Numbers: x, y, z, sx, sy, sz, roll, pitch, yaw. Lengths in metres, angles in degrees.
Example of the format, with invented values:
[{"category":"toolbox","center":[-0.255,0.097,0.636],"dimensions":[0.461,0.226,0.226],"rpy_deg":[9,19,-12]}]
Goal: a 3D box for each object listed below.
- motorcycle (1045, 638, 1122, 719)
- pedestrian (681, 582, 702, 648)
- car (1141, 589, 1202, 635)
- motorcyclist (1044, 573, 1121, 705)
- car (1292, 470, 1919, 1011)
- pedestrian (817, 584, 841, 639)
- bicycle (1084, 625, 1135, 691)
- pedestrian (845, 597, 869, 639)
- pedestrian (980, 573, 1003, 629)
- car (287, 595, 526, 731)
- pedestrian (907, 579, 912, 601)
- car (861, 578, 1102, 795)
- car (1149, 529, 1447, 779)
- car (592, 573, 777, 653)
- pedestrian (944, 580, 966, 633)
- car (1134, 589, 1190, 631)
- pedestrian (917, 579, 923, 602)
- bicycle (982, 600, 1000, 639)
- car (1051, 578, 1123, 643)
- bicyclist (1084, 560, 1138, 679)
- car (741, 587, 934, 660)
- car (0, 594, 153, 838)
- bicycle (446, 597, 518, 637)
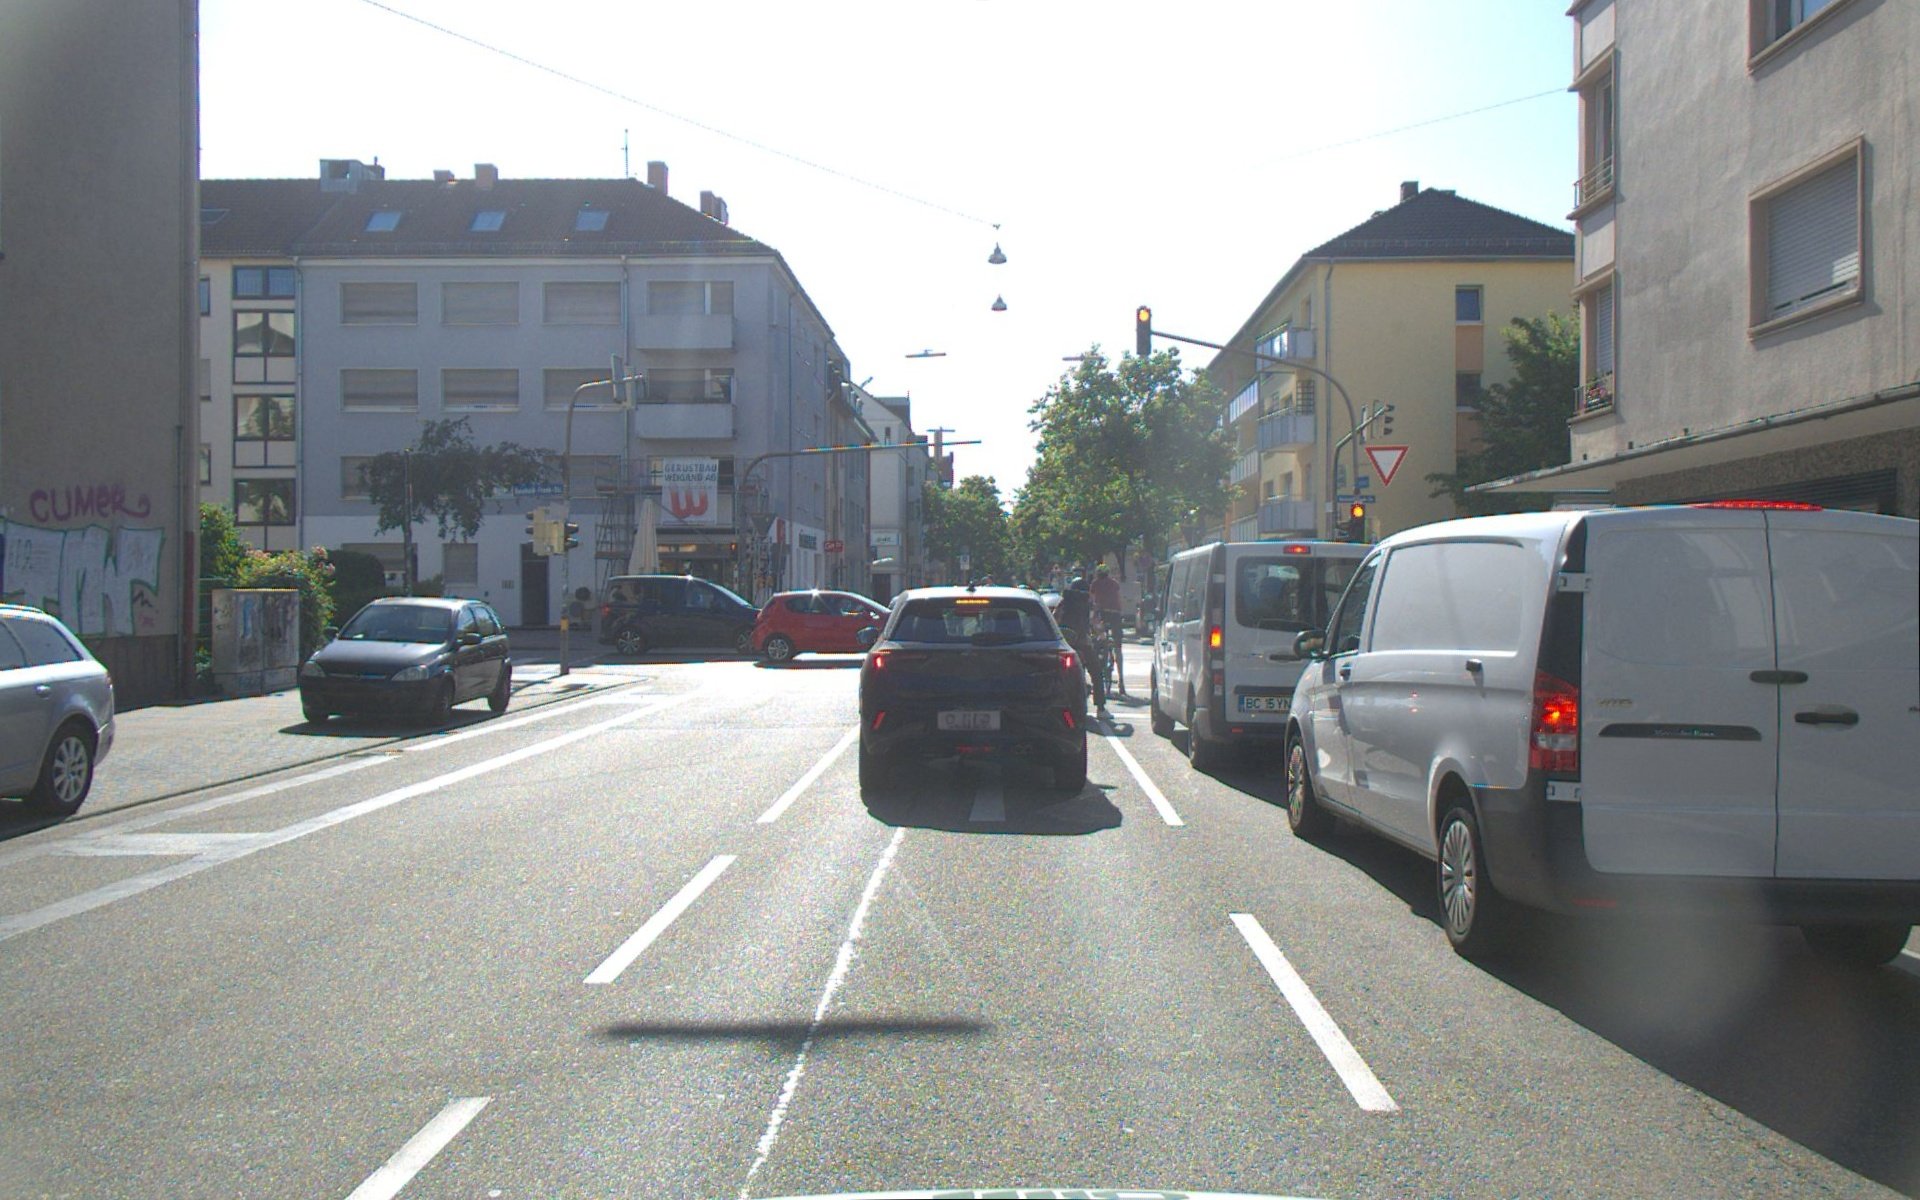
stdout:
[{"category":"motorcycle","center":[1.450,0.914,19.708],"dimensions":[0.808,0.860,1.885],"rpy_deg":[0,0,1]},{"category":"pedestrian","center":[-7.450,0.411,45.932],"dimensions":[0.550,1.806,0.583],"rpy_deg":[0,0,-7]},{"category":"car","center":[6.924,0.372,54.525],"dimensions":[1.600,1.458,3.957],"rpy_deg":[0,0,2]},{"category":"motorcyclist","center":[1.452,0.449,19.772],"dimensions":[0.846,1.528,1.160],"rpy_deg":[0,0,0]},{"category":"car","center":[3.075,0.487,8.385],"dimensions":[1.798,1.901,4.997],"rpy_deg":[1,0,0]},{"category":"pedestrian","center":[-4.064,0.343,51.481],"dimensions":[0.692,1.707,0.802],"rpy_deg":[0,0,-1]},{"category":"bicycle","center":[2.256,0.859,25.159],"dimensions":[0.565,0.920,2.301],"rpy_deg":[0,0,0]},{"category":"pedestrian","center":[-3.208,0.547,51.434],"dimensions":[0.692,1.275,0.802],"rpy_deg":[0,0,-1]},{"category":"pedestrian","center":[0.970,0.029,51.352],"dimensions":[0.692,1.730,0.802],"rpy_deg":[0,0,-1]},{"category":"car","center":[-6.628,0.693,20.209],"dimensions":[1.583,1.450,3.711],"rpy_deg":[2,0,1]},{"category":"pedestrian","center":[-3.789,-0.761,124.379],"dimensions":[0.393,1.704,0.418],"rpy_deg":[0,0,1]},{"category":"car","center":[0.142,0.609,13.972],"dimensions":[1.734,1.557,4.000],"rpy_deg":[0,0,0]},{"category":"car","center":[3.018,0.420,15.841],"dimensions":[1.952,2.014,4.896],"rpy_deg":[0,0,1]},{"category":"car","center":[-6.306,0.281,38.238],"dimensions":[3.978,1.758,1.907],"rpy_deg":[0,0,-2]},{"category":"pedestrian","center":[-0.154,0.200,51.252],"dimensions":[0.666,1.634,0.762],"rpy_deg":[0,0,-1]},{"category":"car","center":[7.216,0.329,59.412],"dimensions":[1.600,1.458,4.001],"rpy_deg":[0,0,1]},{"category":"pedestrian","center":[-3.010,-0.723,124.326],"dimensions":[0.393,1.704,0.418],"rpy_deg":[0,0,1]},{"category":"bicycle","center":[0.964,0.591,51.441],"dimensions":[0.511,1.167,2.170],"rpy_deg":[0,0,0]},{"category":"car","center":[3.547,0.263,46.637],"dimensions":[1.862,1.758,4.001],"rpy_deg":[0,0,2]},{"category":"bicyclist","center":[2.286,0.282,25.095],"dimensions":[0.675,1.742,1.414],"rpy_deg":[0,0,0]},{"category":"car","center":[-2.557,0.479,35.239],"dimensions":[3.904,1.489,1.831],"rpy_deg":[0,0,1]},{"category":"car","center":[-6.918,0.732,9.912],"dimensions":[1.682,1.491,4.816],"rpy_deg":[3,0,1]},{"category":"bicycle","center":[-14.725,0.509,50.971],"dimensions":[2.065,1.193,0.735],"rpy_deg":[-1,0,-22]}]
